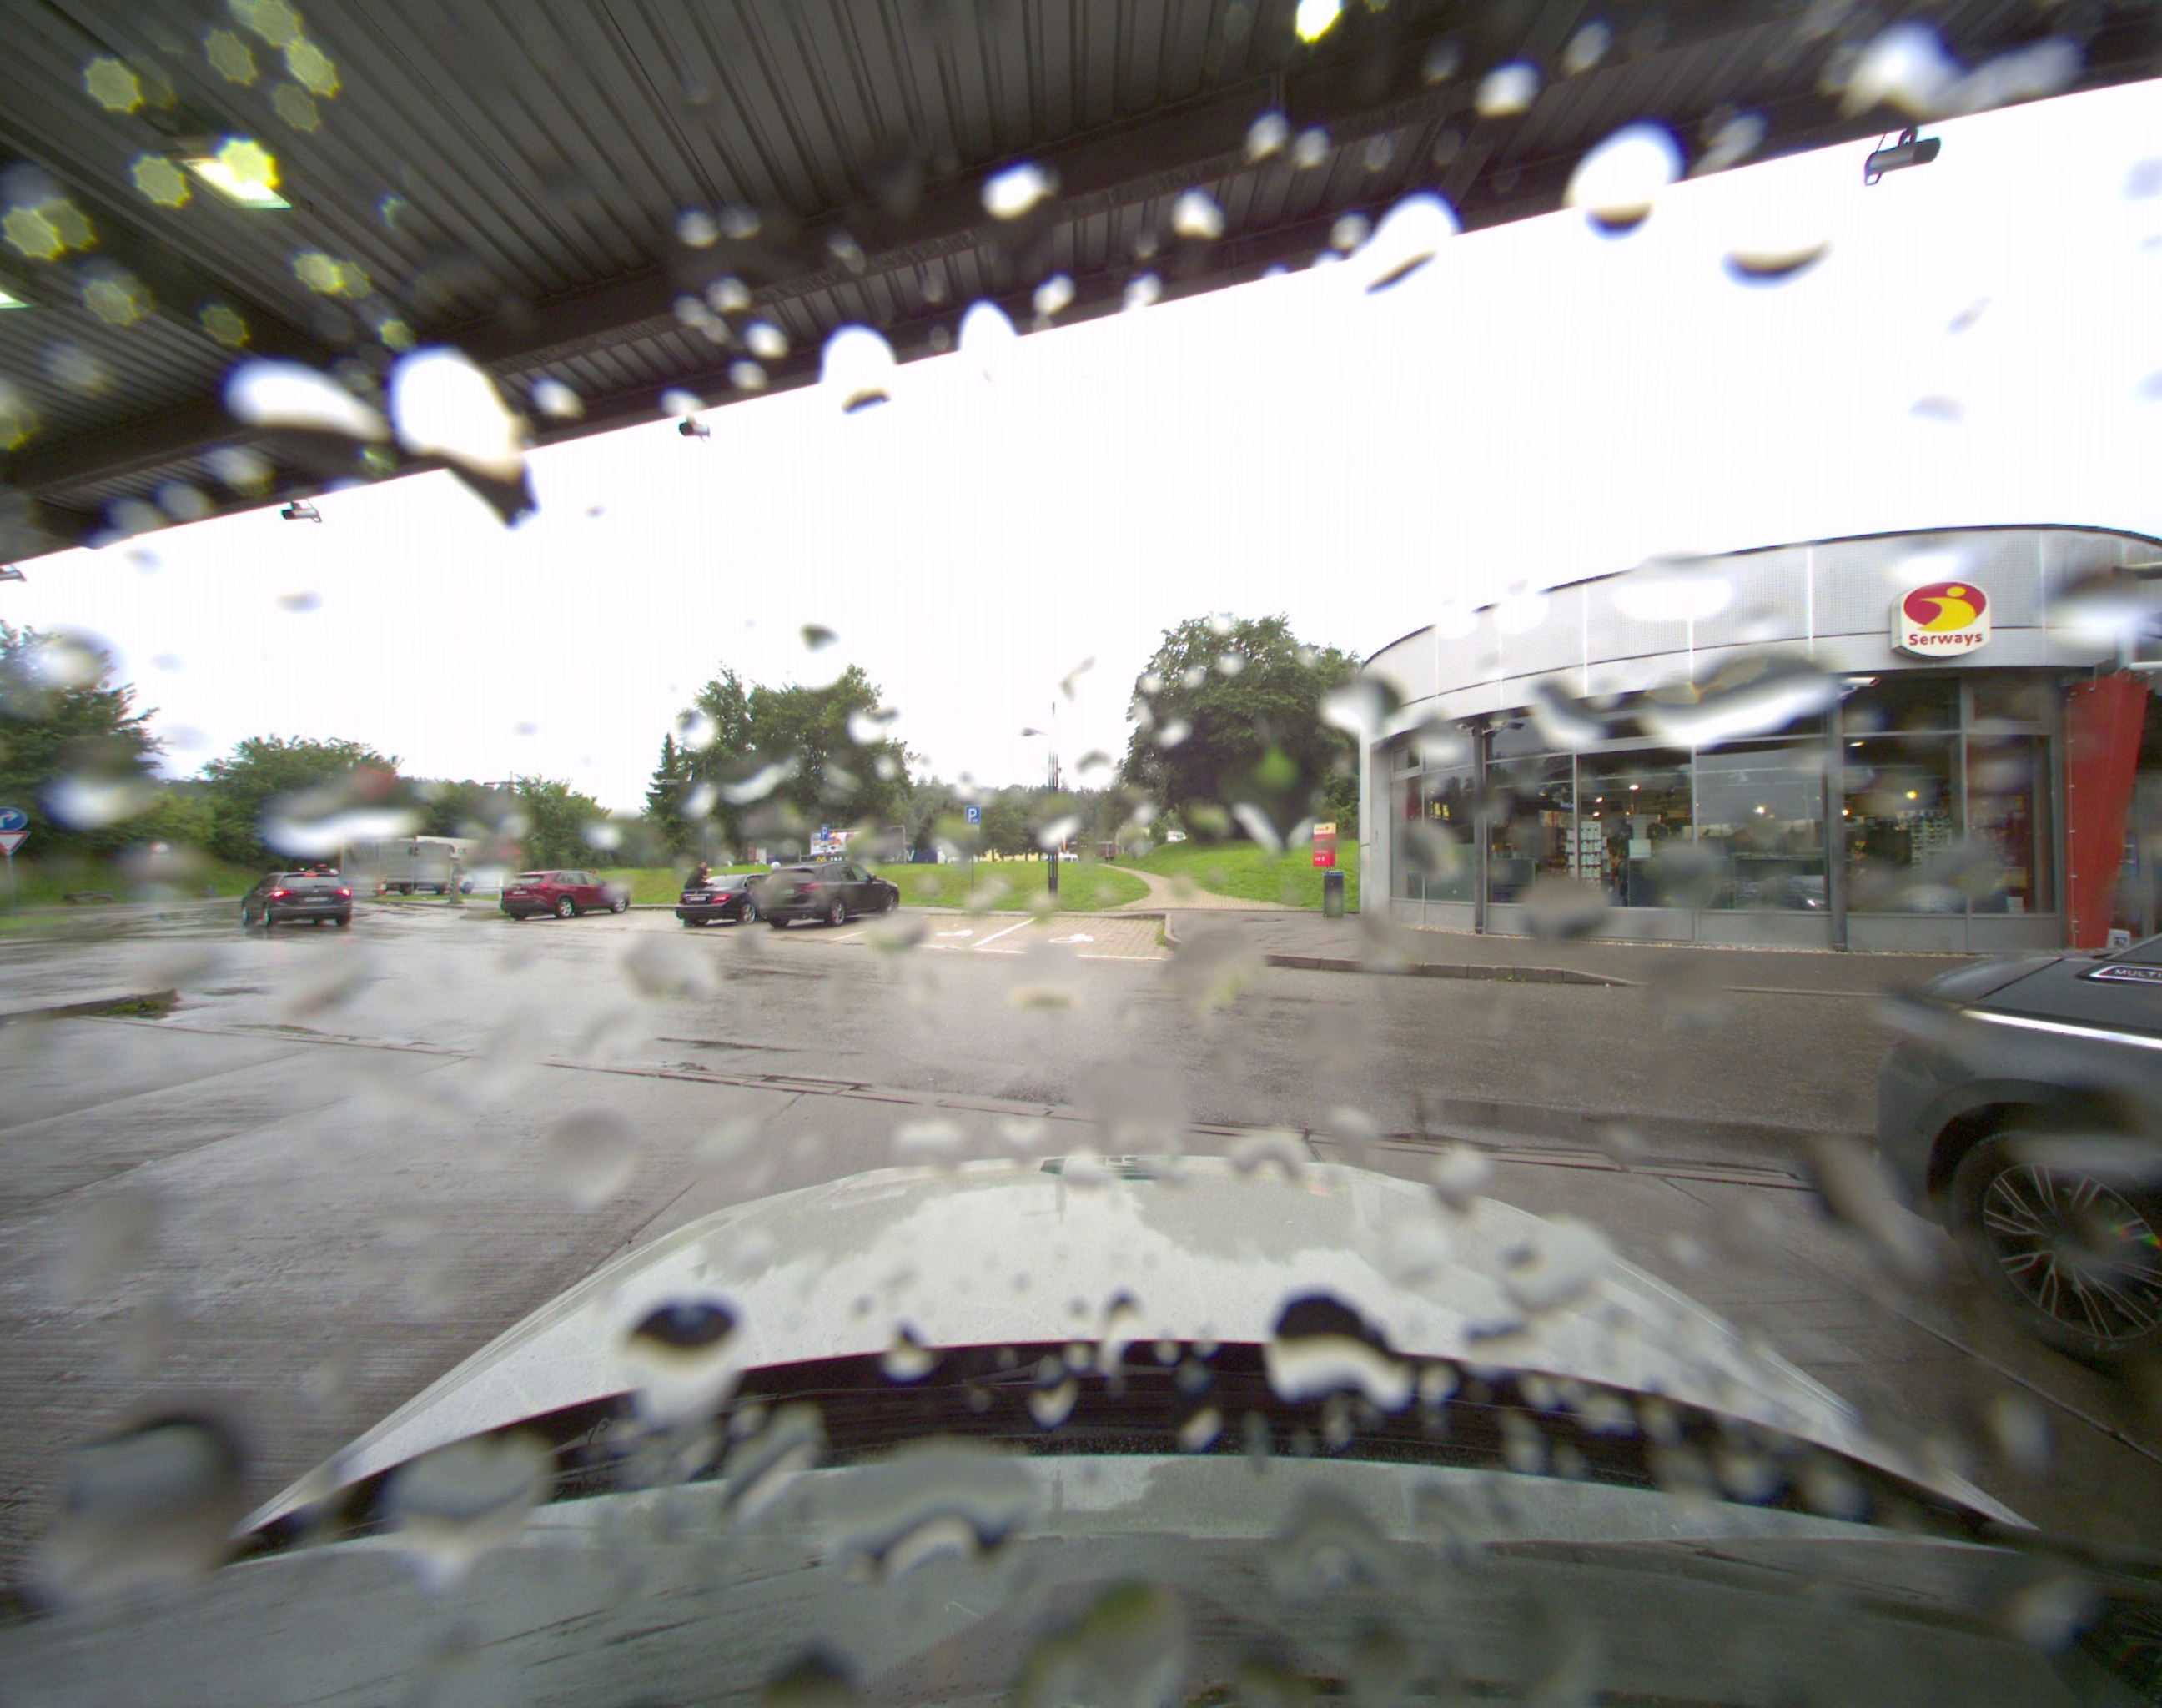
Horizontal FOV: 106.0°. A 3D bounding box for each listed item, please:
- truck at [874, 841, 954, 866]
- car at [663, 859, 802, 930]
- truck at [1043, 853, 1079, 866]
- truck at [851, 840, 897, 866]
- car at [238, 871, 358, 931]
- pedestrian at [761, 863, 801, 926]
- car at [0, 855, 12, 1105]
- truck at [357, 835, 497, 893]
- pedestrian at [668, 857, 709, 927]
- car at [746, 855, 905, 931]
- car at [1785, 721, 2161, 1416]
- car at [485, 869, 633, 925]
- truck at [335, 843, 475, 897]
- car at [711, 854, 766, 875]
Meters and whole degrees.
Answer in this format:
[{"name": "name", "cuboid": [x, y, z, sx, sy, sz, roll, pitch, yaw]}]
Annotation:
[{"name": "truck", "cuboid": [-20.756, -0.060, 102.341, 2.165, 2.920, 13.175, -1, -1, 26]}, {"name": "car", "cuboid": [-9.836, 1.077, 23.419, 2.010, 1.711, 4.344, -2, 0, 1]}, {"name": "truck", "cuboid": [-3.252, 0.871, 134.100, 5.356, 2.014, 2.381, -1, -1, 26]}, {"name": "truck", "cuboid": [-24.189, -0.091, 95.450, 2.165, 2.920, 5.419, -1, -1, 27]}, {"name": "car", "cuboid": [-24.027, 1.393, 24.972, 3.948, 1.678, 2.013, -2, -1, 37]}, {"name": "pedestrian", "cuboid": [-7.999, 1.067, 21.703, 0.955, 1.631, 0.698, 0, -1, -25]}, {"name": "car", "cuboid": [-7.968, 0.798, 2.671, 1.854, 1.608, 5.273, 0, -1, 2]}, {"name": "truck", "cuboid": [-55.447, 0.838, 69.971, 3.550, 4.340, 16.899, 0, -1, -18]}, {"name": "pedestrian", "cuboid": [-10.843, 1.023, 22.518, 0.882, 1.887, 0.708, -1, -1, 38]}, {"name": "car", "cuboid": [-6.650, 0.967, 21.775, 2.002, 1.711, 4.360, -2, 0, 14]}, {"name": "car", "cuboid": [3.673, 0.538, 0.673, 1.854, 1.798, 5.142, 0, -1, 2]}, {"name": "car", "cuboid": [-18.138, 1.438, 28.587, 1.928, 1.644, 4.352, -2, 0, 7]}, {"name": "truck", "cuboid": [-41.229, 0.939, 50.068, 2.469, 3.085, 7.354, 0, -1, 0]}, {"name": "car", "cuboid": [-30.421, 0.918, 72.408, 4.156, 1.783, 1.823, 0, -1, -37]}]
